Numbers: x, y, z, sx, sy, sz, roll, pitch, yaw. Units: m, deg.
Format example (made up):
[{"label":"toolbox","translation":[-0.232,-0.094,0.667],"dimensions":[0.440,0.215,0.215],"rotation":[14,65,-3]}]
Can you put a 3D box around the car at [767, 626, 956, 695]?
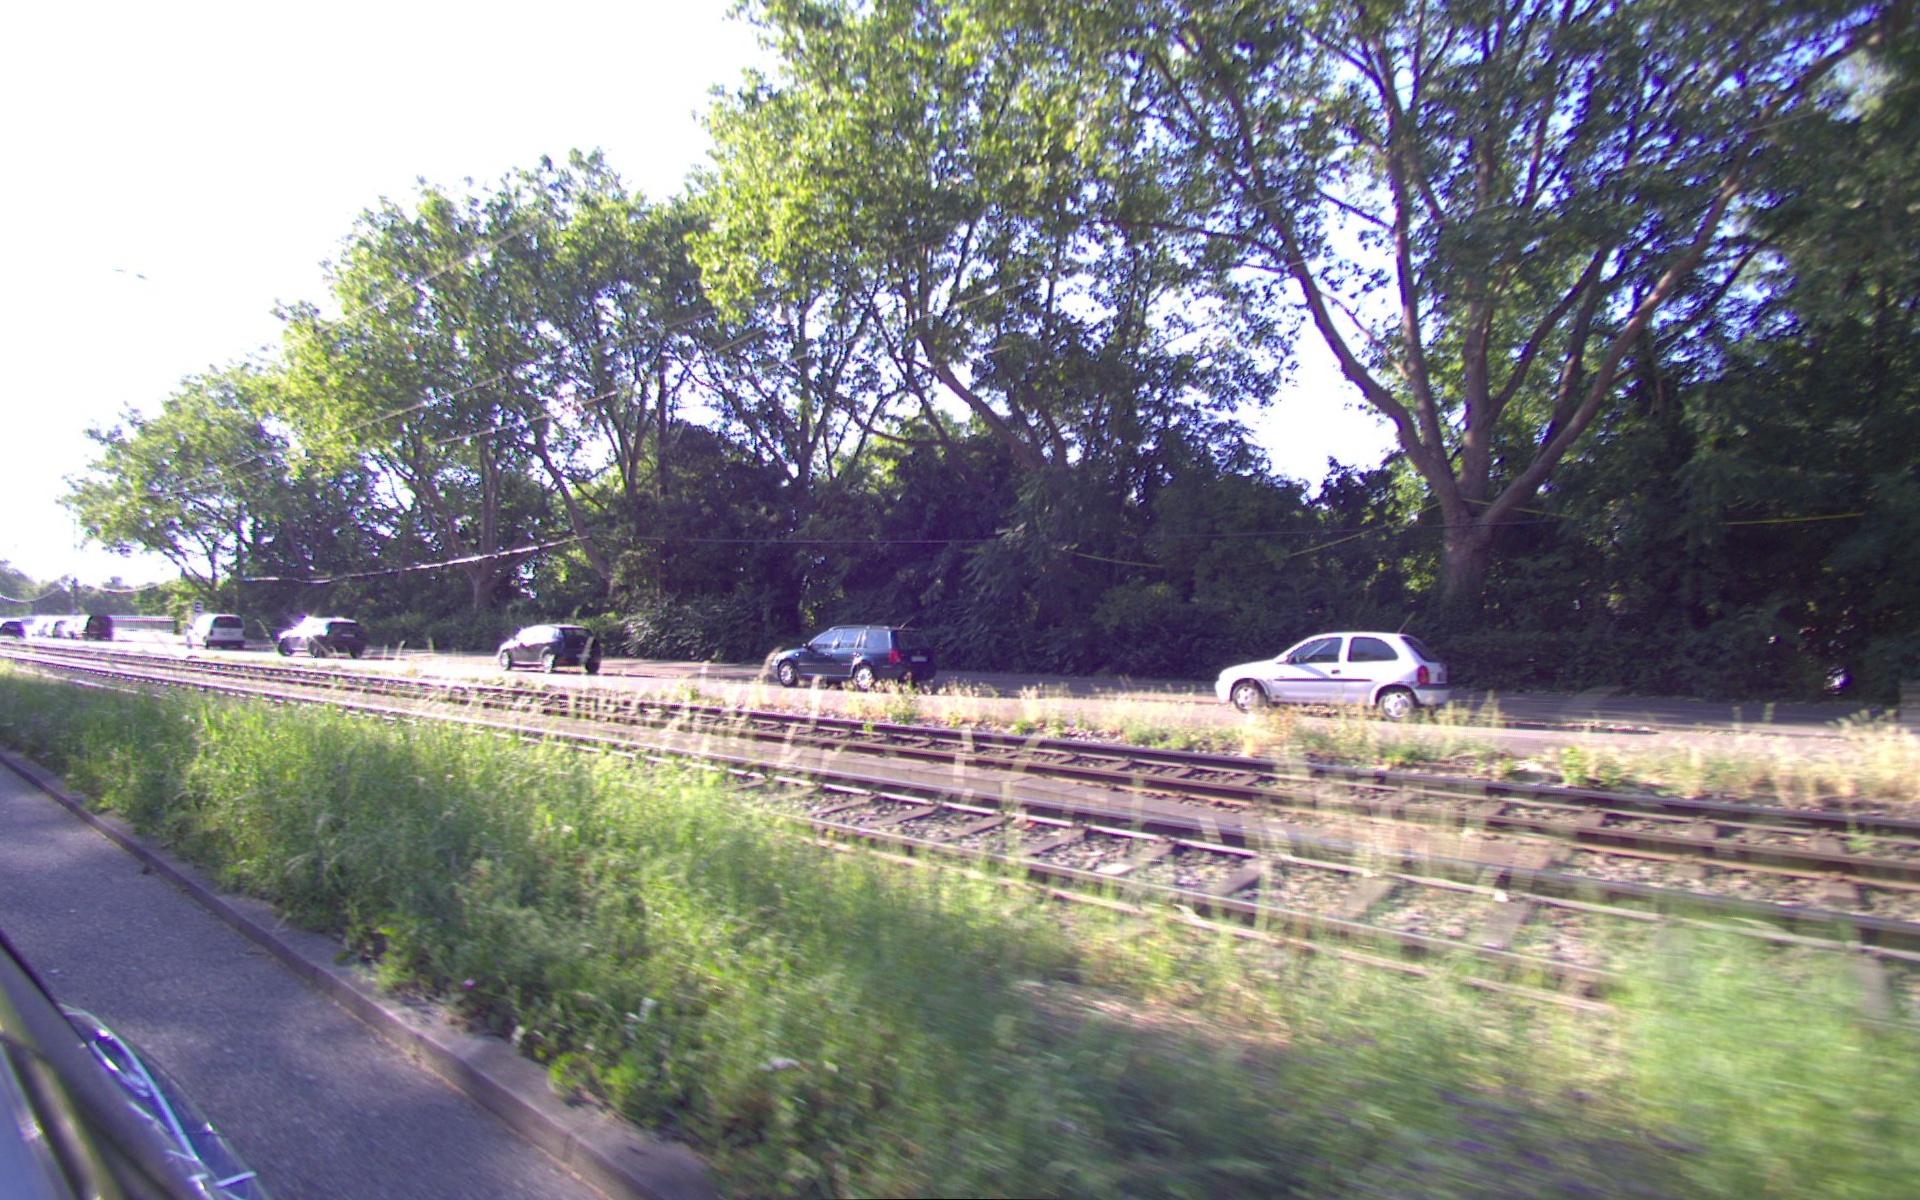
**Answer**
[{"label":"car","translation":[-2.359,1.365,23.668],"dimensions":[4.317,1.448,1.810],"rotation":[-1,-3,38]}]

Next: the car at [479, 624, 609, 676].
[{"label":"car","translation":[-13.090,1.541,31.770],"dimensions":[4.388,1.517,1.810],"rotation":[-1,-3,38]}]

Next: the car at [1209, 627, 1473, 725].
[{"label":"car","translation":[6.345,1.202,17.026],"dimensions":[3.846,1.448,1.722],"rotation":[-1,-3,38]}]

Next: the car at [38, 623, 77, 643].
[{"label":"car","translation":[-70.084,2.545,78.574],"dimensions":[3.781,1.453,1.638],"rotation":[-1,-3,39]}]

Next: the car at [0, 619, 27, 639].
[{"label":"car","translation":[-72.442,2.167,76.590],"dimensions":[4.743,1.426,1.901],"rotation":[-1,-3,38]}]

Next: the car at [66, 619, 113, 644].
[{"label":"car","translation":[-61.617,2.234,71.603],"dimensions":[3.894,1.753,1.713],"rotation":[-1,-3,38]}]

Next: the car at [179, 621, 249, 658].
[{"label":"car","translation":[-39.764,2.085,53.893],"dimensions":[4.388,1.854,1.810],"rotation":[-1,-3,38]}]

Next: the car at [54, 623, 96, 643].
[{"label":"car","translation":[-65.766,2.466,75.197],"dimensions":[3.780,1.453,1.638],"rotation":[-1,-3,38]}]

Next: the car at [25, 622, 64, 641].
[{"label":"car","translation":[-74.138,2.555,81.977],"dimensions":[3.919,1.511,1.638],"rotation":[-1,-3,38]}]

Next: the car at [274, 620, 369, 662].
[{"label":"car","translation":[-27.543,1.750,43.608],"dimensions":[4.382,1.732,1.812],"rotation":[0,-3,34]}]
